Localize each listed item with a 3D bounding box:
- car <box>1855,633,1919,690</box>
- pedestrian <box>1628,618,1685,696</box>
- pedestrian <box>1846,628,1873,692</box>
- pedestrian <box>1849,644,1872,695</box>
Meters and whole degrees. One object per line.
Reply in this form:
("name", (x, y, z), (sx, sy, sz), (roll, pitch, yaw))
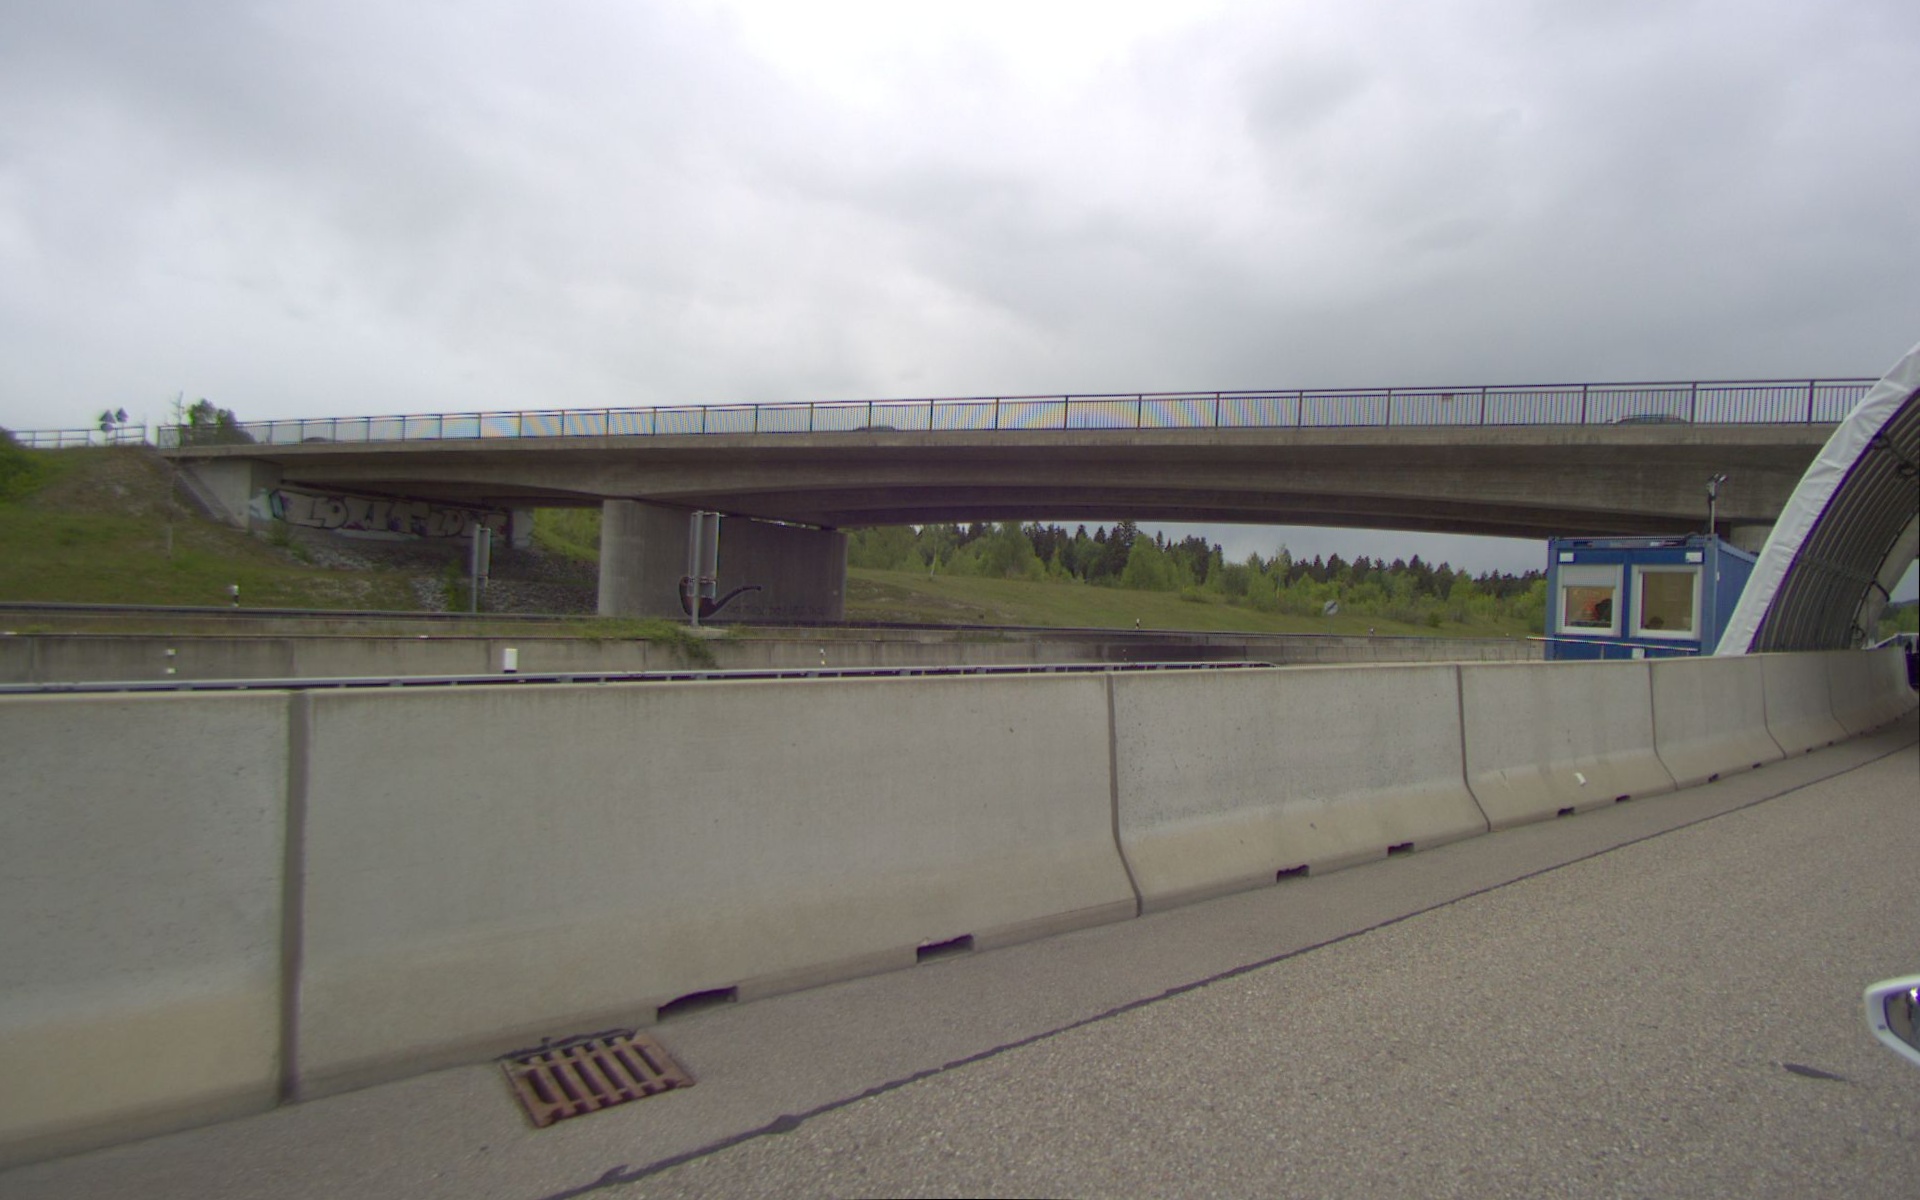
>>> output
("car", (35.710, 2.276, 36.251), (1.814, 2.040, 4.797), (2, -1, -21))
("pedestrian", (12.733, 1.030, 18.359), (0.618, 1.391, 0.609), (2, -1, -21))
("pedestrian", (29.332, 1.951, 32.748), (0.618, 2.040, 0.652), (1, -1, 45))
("pedestrian", (27.958, 2.149, 31.181), (0.496, 1.567, 0.461), (1, -1, 41))
